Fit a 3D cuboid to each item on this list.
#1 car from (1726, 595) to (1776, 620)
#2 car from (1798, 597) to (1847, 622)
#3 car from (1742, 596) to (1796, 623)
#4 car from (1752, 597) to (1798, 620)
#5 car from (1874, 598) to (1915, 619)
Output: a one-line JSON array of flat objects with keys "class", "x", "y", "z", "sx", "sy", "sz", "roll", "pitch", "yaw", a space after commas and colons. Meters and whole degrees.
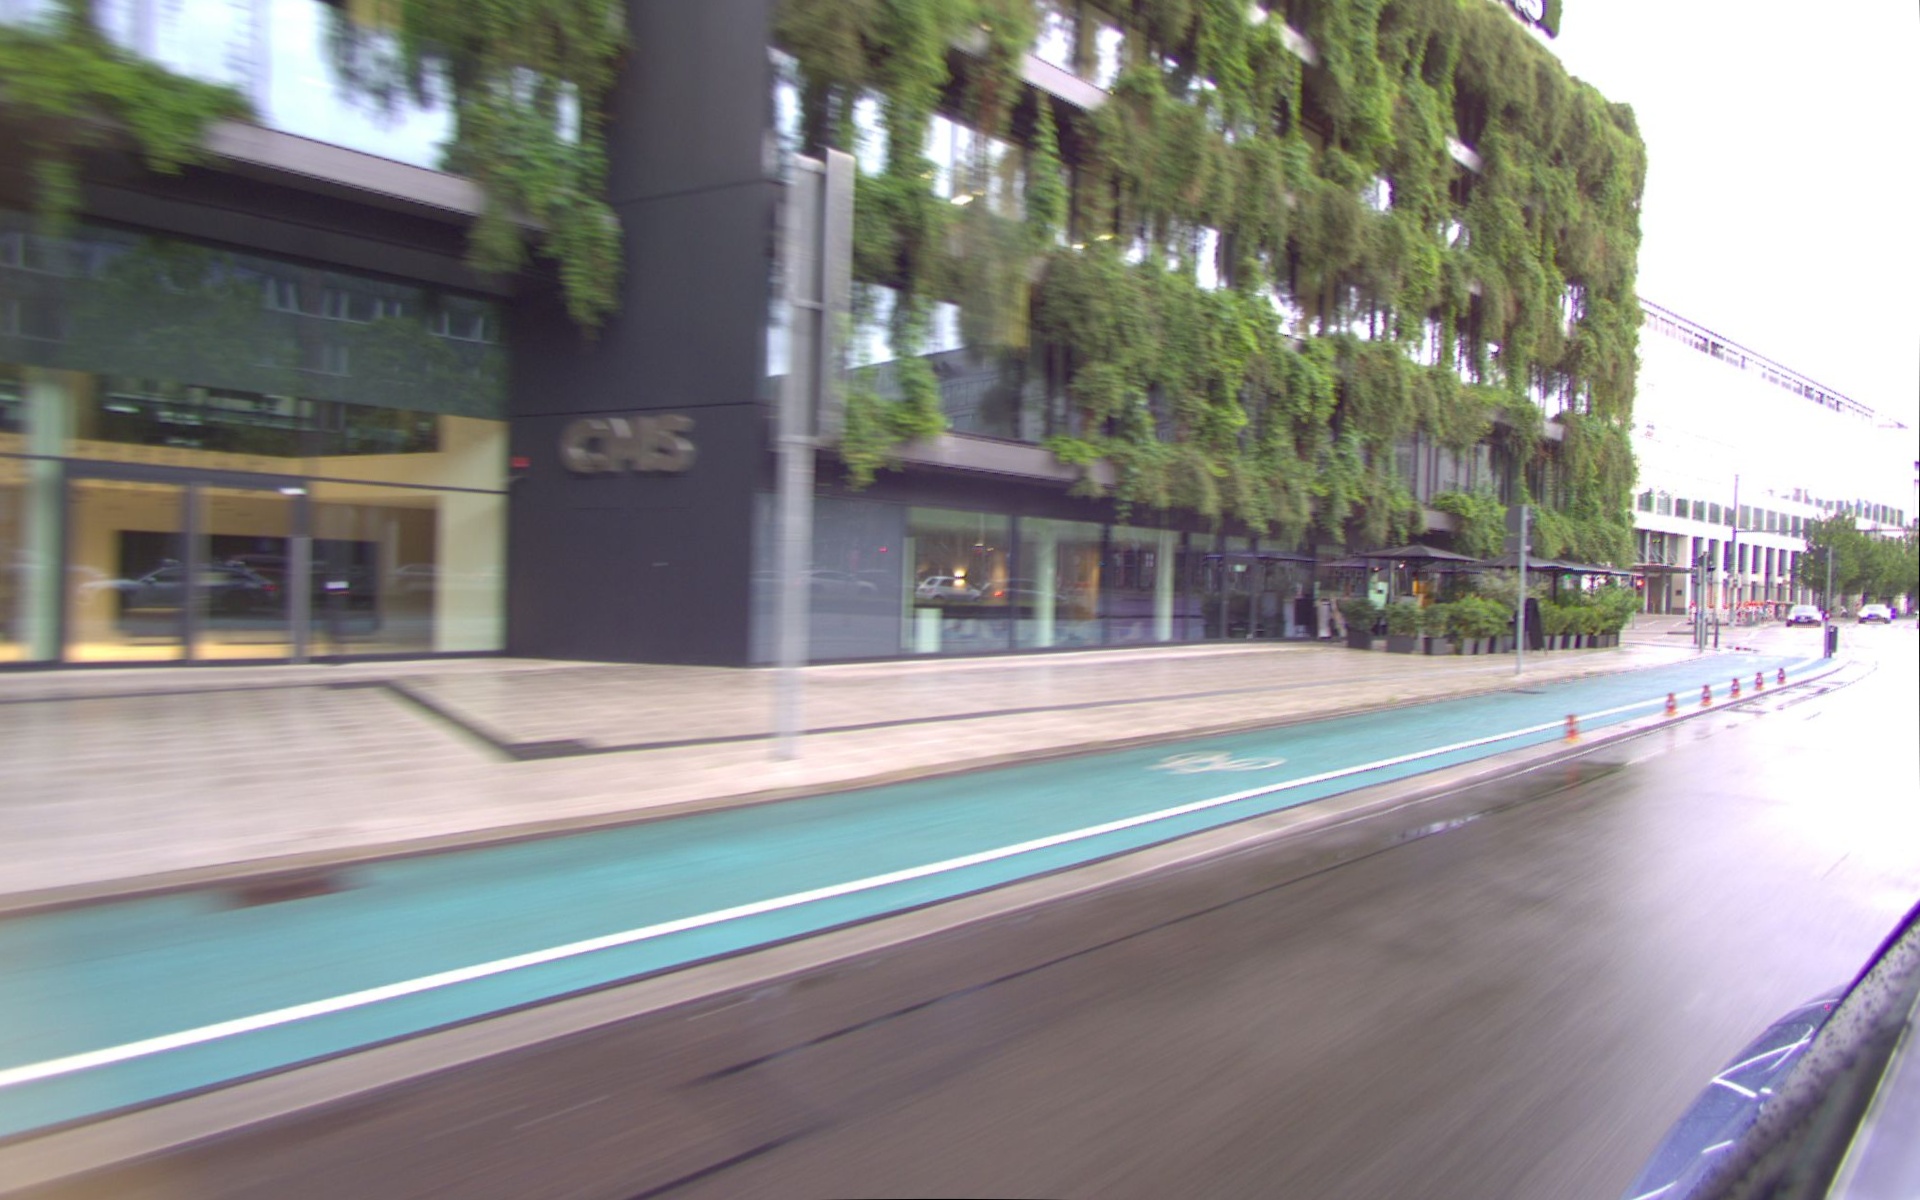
[{"class": "car", "x": 52.954, "y": 0.493, "z": 67.708, "sx": 4.588, "sy": 1.572, "sz": 1.738, "roll": 0, "pitch": 1, "yaw": -40}, {"class": "car", "x": 57.117, "y": 0.596, "z": 67.004, "sx": 4.588, "sy": 1.572, "sz": 1.738, "roll": 0, "pitch": 1, "yaw": -40}, {"class": "car", "x": 50.472, "y": 0.563, "z": 63.114, "sx": 4.588, "sy": 1.572, "sz": 1.738, "roll": 0, "pitch": 1, "yaw": -40}, {"class": "car", "x": 58.710, "y": 0.582, "z": 72.884, "sx": 4.588, "sy": 1.572, "sz": 1.738, "roll": 0, "pitch": 1, "yaw": -40}, {"class": "car", "x": 72.309, "y": 0.662, "z": 78.288, "sx": 4.588, "sy": 1.572, "sz": 1.738, "roll": 0, "pitch": 1, "yaw": -40}]
